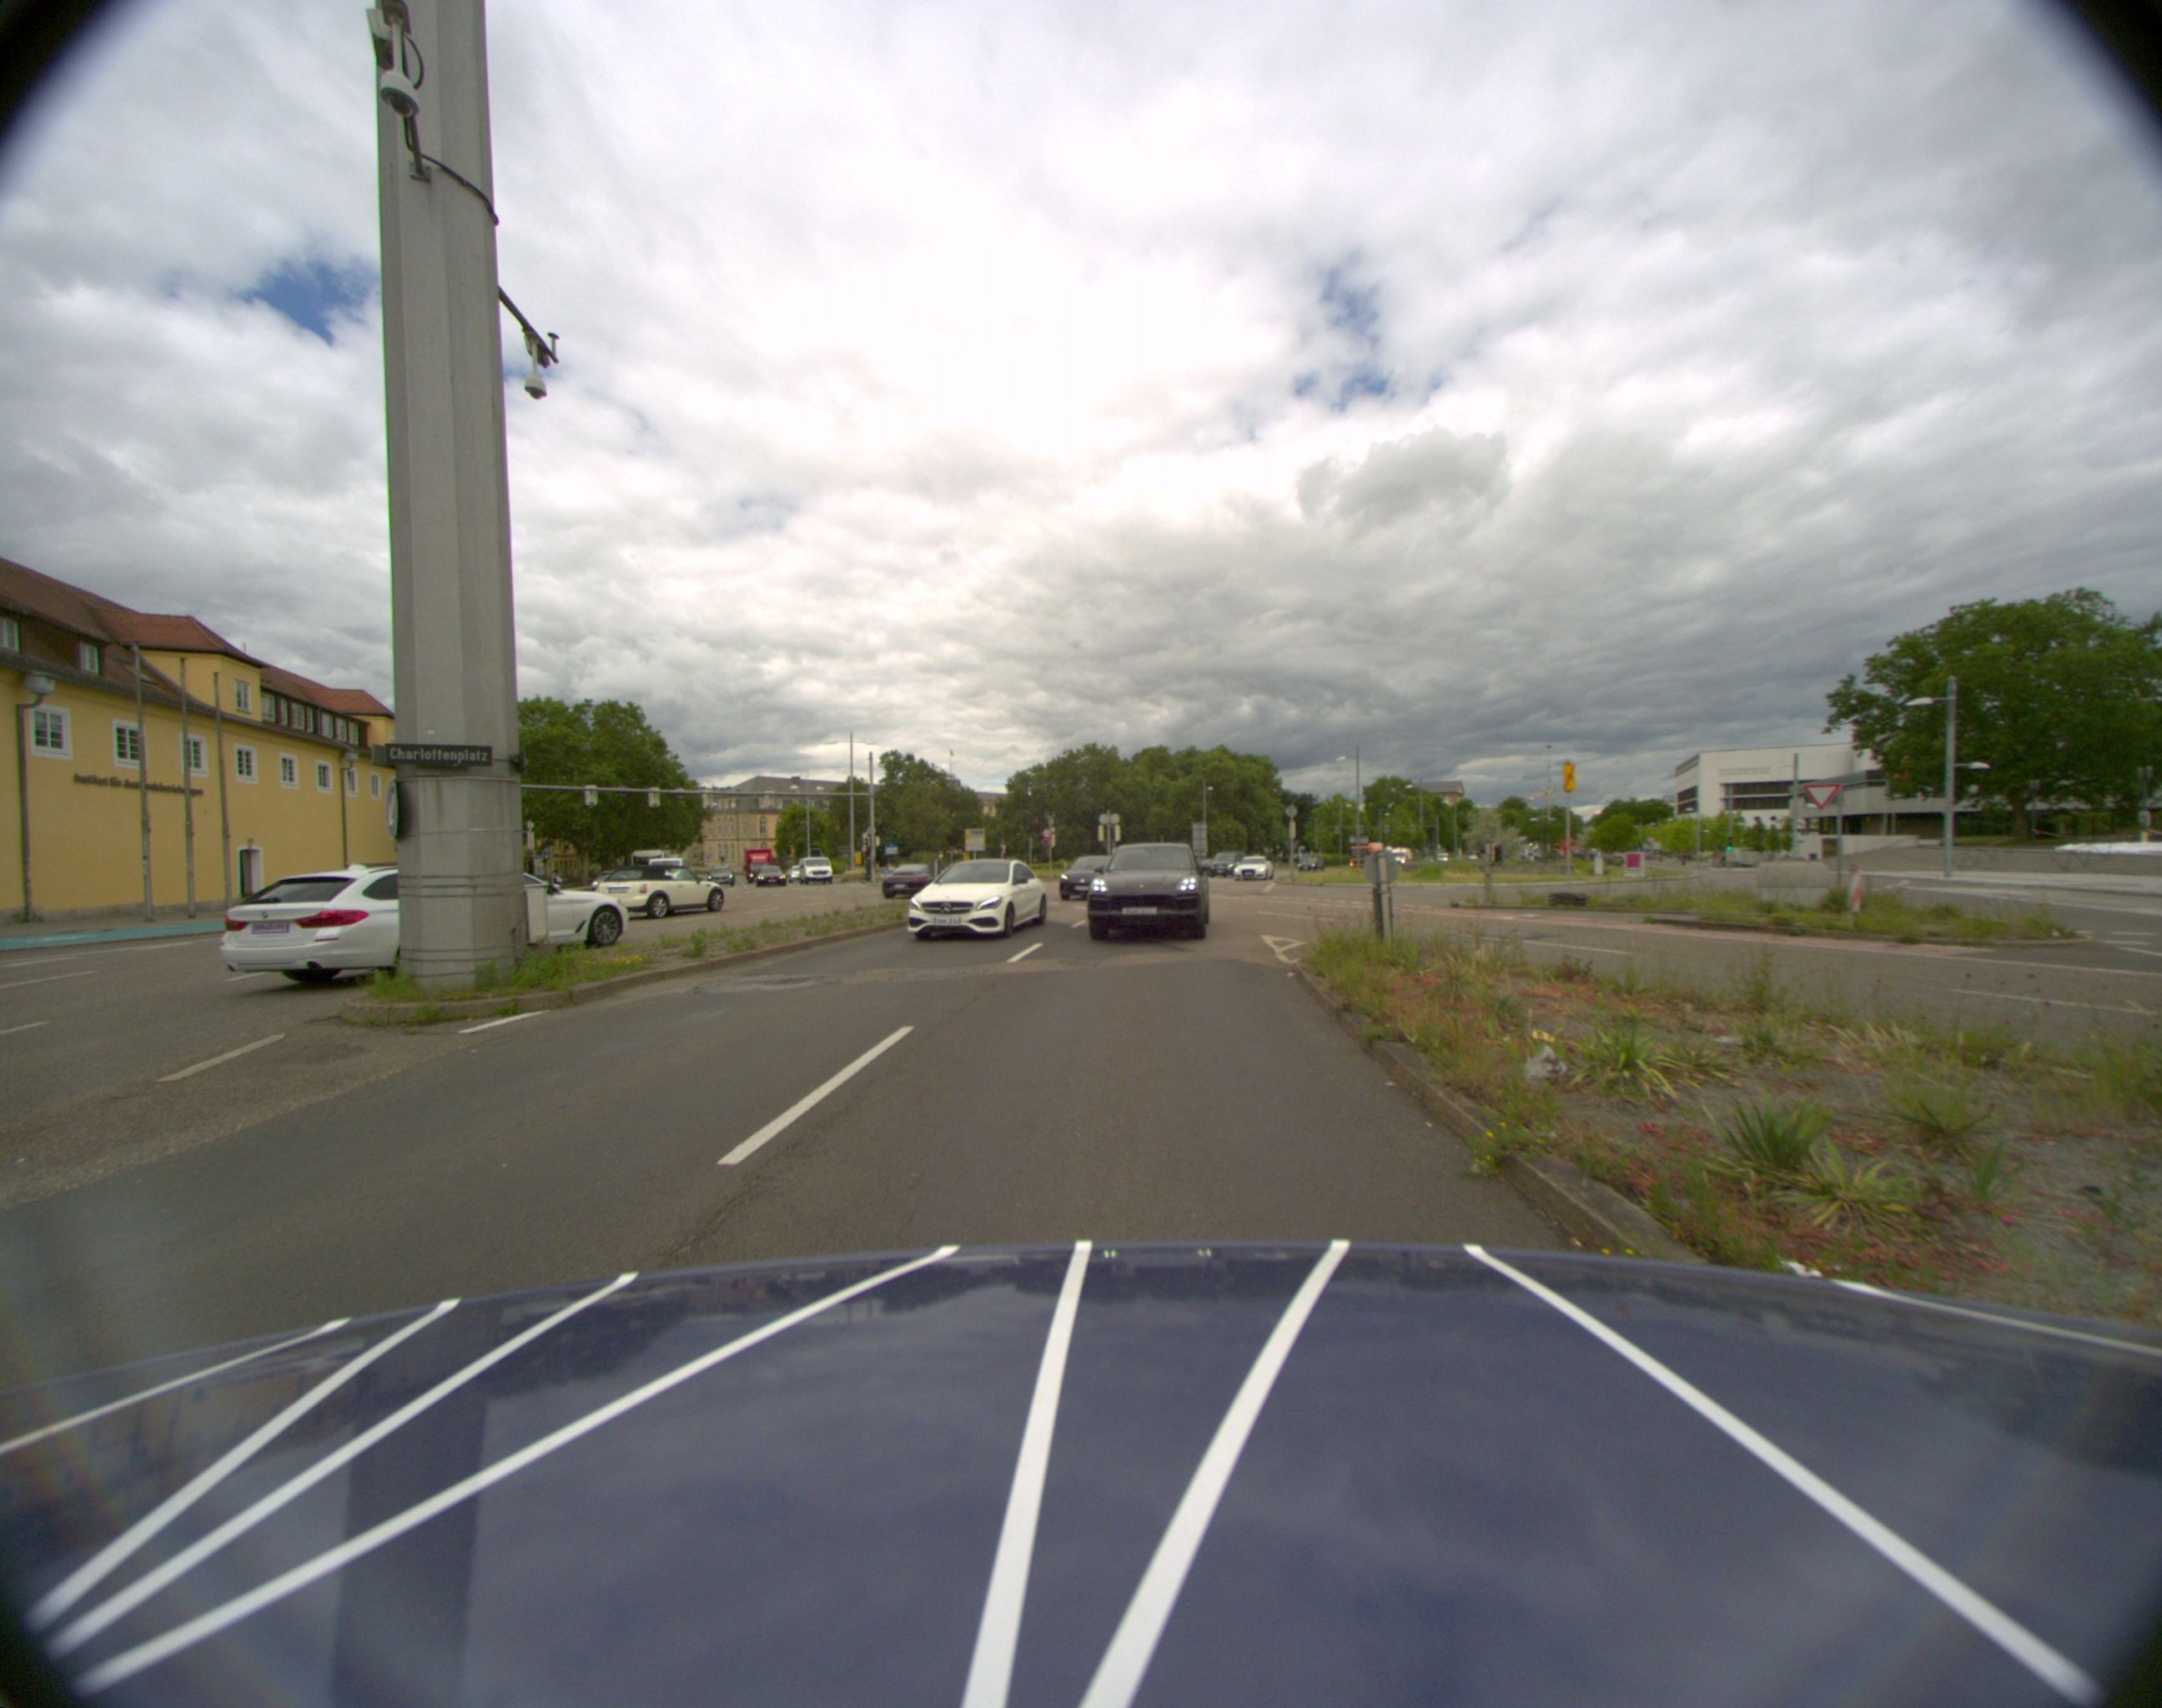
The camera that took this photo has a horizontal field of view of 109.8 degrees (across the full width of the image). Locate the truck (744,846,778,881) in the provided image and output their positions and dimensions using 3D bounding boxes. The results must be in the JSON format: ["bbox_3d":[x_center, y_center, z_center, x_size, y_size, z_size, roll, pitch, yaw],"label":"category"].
[{"bbox_3d":[-33.642,0.980,79.702,2.795,3.469,8.333,-1,0,-25],"label":"truck"}]

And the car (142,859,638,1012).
[{"bbox_3d":[-9.113,0.938,10.869,1.997,1.496,5.042,-2,1,9],"label":"car"}]

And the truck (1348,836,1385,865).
[{"bbox_3d":[36.889,-0.483,97.943,2.721,3.595,9.196,-1,0,32],"label":"truck"}]

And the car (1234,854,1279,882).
[{"bbox_3d":[10.726,0.814,46.200,2.092,1.600,4.418,0,1,20],"label":"car"}]

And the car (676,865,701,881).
[{"bbox_3d":[-32.596,1.593,63.171,1.625,1.228,3.232,-1,0,-24],"label":"car"}]

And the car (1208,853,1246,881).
[{"bbox_3d":[10.801,0.905,55.851,1.856,1.976,4.649,0,1,22],"label":"car"}]

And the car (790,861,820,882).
[{"bbox_3d":[-23.720,1.460,65.235,2.002,1.744,3.953,-1,0,-25],"label":"car"}]

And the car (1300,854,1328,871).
[{"bbox_3d":[23.855,0.865,77.797,1.856,1.728,3.747,-1,0,31],"label":"car"}]

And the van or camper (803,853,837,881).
[{"bbox_3d":[-19.207,0.934,55.766,1.868,1.905,4.704,-1,0,-25],"label":"van or camper"}]

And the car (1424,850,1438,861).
[{"bbox_3d":[63.703,0.243,138.267,1.779,1.834,3.806,-1,0,32],"label":"car"}]

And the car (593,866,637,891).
[{"bbox_3d":[-29.162,1.525,47.636,1.831,1.400,3.992,-1,0,-25],"label":"car"}]

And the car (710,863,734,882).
[{"bbox_3d":[-28.283,1.417,59.785,1.608,1.370,3.992,-1,0,-26],"label":"car"}]

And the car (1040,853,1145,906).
[{"bbox_3d":[0.499,0.810,25.882,1.995,1.537,4.575,-1,1,22],"label":"car"}]

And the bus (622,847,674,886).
[{"bbox_3d":[-39.741,1.065,70.110,3.440,3.185,13.035,-1,0,-27],"label":"bus"}]

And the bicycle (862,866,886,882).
[{"bbox_3d":[-13.855,1.339,50.859,0.504,1.066,1.732,-1,0,27],"label":"bicycle"}]

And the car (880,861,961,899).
[{"bbox_3d":[-6.058,0.960,29.093,1.674,1.257,4.060,-2,0,8],"label":"car"}]

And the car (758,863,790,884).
[{"bbox_3d":[-21.480,1.347,53.076,1.743,1.392,3.703,-1,0,-27],"label":"car"}]

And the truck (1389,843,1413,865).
[{"bbox_3d":[42.236,-0.068,100.109,1.951,2.767,5.800,-1,1,32],"label":"truck"}]

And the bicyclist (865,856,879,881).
[{"bbox_3d":[-13.929,0.945,50.735,0.504,1.630,0.723,-1,1,28],"label":"bicyclist"}]

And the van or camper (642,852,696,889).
[{"bbox_3d":[-26.934,1.040,49.881,2.378,2.249,6.276,-1,0,-22],"label":"van or camper"}]

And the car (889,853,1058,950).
[{"bbox_3d":[-1.885,0.796,14.954,1.868,1.560,4.655,-1,0,10],"label":"car"}]

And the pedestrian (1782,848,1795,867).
[{"bbox_3d":[65.487,0.305,70.310,0.682,1.738,0.893,-1,0,27],"label":"pedestrian"}]

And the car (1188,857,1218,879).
[{"bbox_3d":[10.092,1.129,62.635,1.996,1.668,4.005,-1,0,16],"label":"car"}]

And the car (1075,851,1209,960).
[{"bbox_3d":[1.272,0.789,14.146,2.003,1.628,5.023,-2,0,8],"label":"car"}]

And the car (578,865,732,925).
[{"bbox_3d":[-11.437,1.046,20.701,1.727,1.410,3.650,-2,0,9],"label":"car"}]
